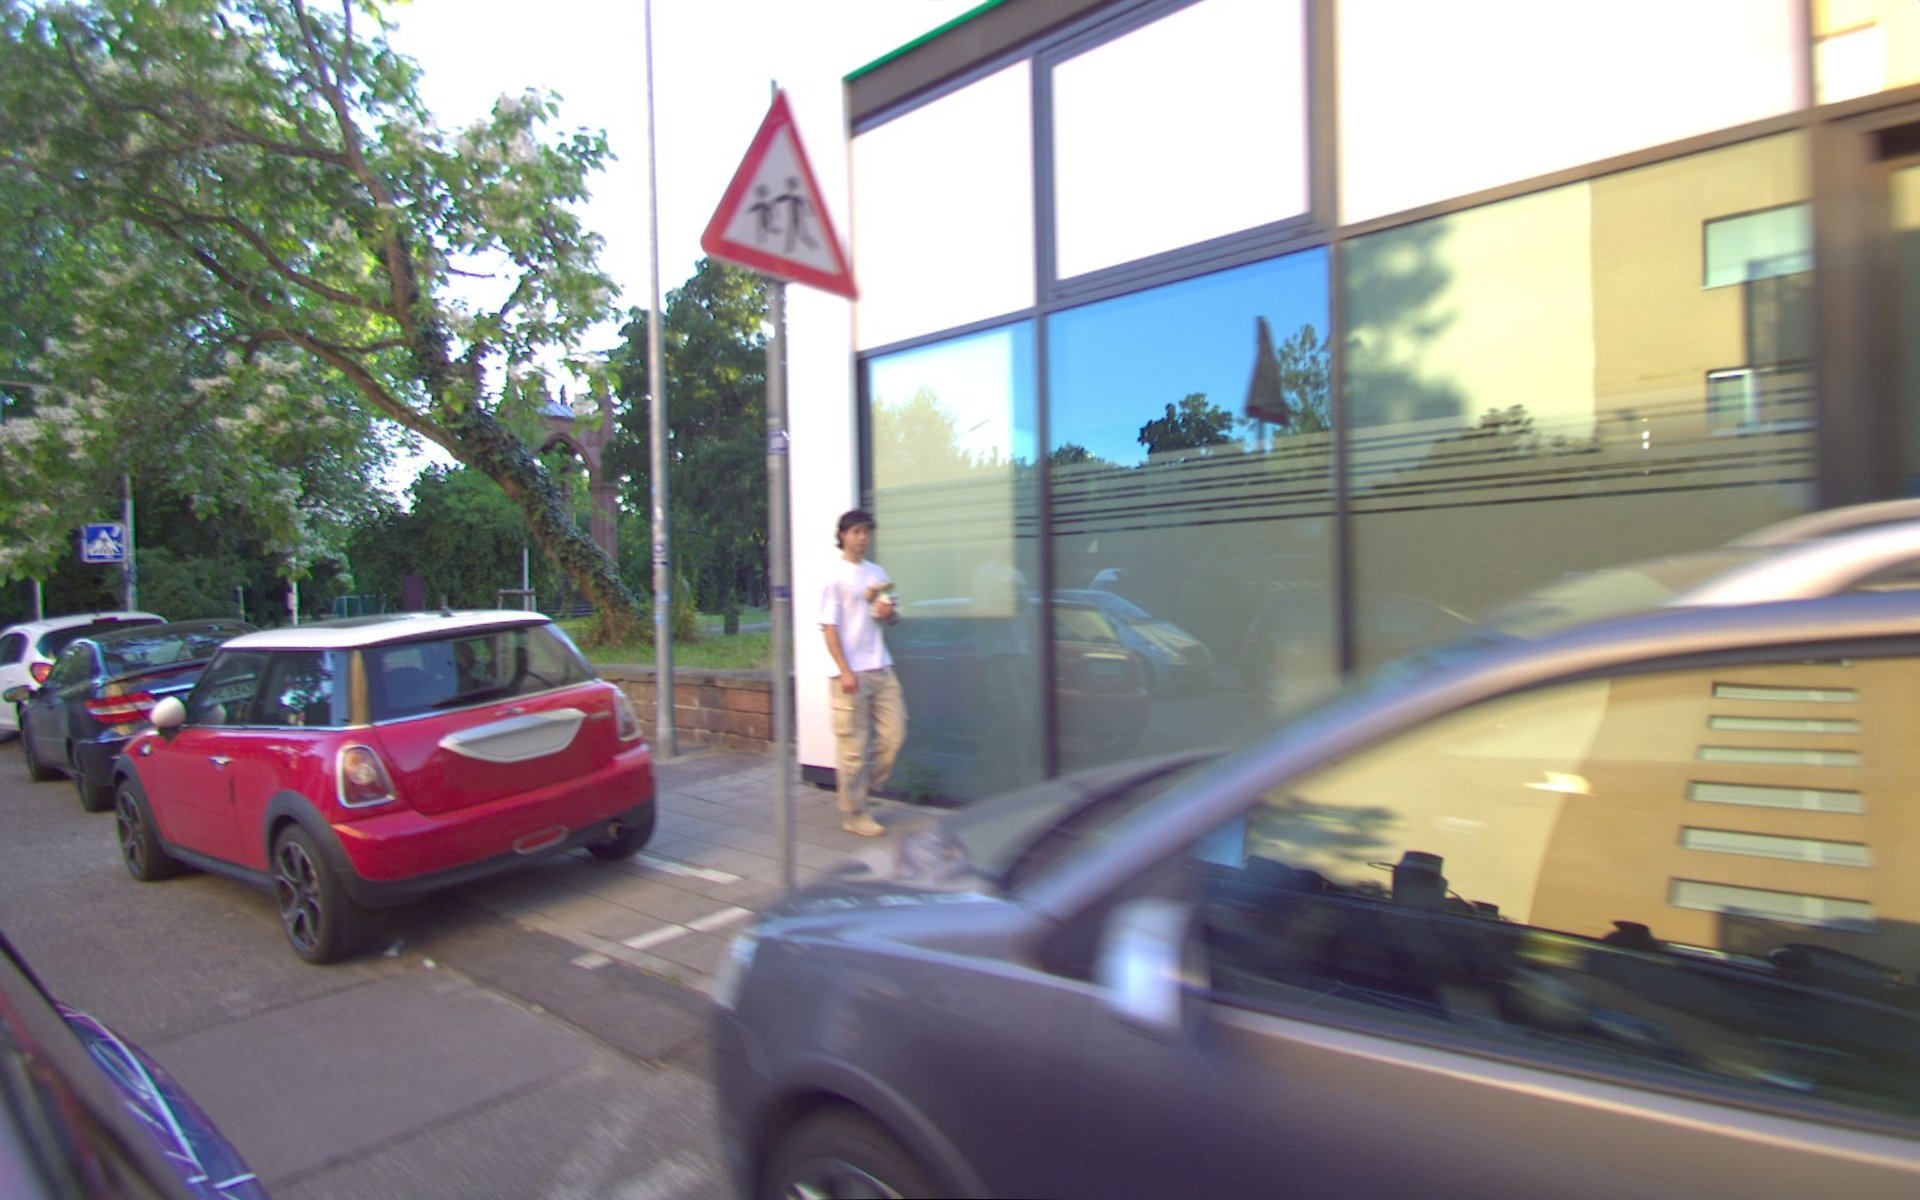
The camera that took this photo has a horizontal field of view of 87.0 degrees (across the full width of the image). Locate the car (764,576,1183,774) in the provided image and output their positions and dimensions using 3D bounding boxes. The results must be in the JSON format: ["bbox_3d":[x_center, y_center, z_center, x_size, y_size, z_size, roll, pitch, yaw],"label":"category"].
[{"bbox_3d":[-0.007,0.631,9.690,3.873,1.534,1.577,-2,-1,40],"label":"car"}]

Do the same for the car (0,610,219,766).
[{"bbox_3d":[-10.946,1.015,12.484,3.875,1.525,1.648,-3,2,35],"label":"car"}]

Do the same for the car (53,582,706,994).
[{"bbox_3d":[-3.395,0.771,5.645,3.920,1.421,1.647,-3,4,37],"label":"car"}]

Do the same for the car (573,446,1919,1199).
[{"bbox_3d":[1.227,0.549,1.541,3.882,1.508,1.645,-2,5,41],"label":"car"}]

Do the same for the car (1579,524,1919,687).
[{"bbox_3d":[8.594,0.058,10.077,3.917,1.445,1.680,-2,-1,40],"label":"car"}]

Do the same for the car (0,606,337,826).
[{"bbox_3d":[-7.605,0.921,9.385,4.409,1.426,1.646,-2,5,39],"label":"car"}]

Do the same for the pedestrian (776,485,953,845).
[{"bbox_3d":[-0.541,0.344,5.791,0.620,1.892,0.713,-3,-1,41],"label":"pedestrian"}]

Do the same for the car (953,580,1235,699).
[{"bbox_3d":[1.940,0.577,15.294,3.917,1.573,1.680,-2,-1,40],"label":"car"}]

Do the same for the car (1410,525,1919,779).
[{"bbox_3d":[5.856,0.372,8.148,3.735,1.671,1.680,-2,-1,40],"label":"car"}]

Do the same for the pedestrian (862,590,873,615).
[{"bbox_3d":[-6.527,0.171,71.072,0.657,1.681,0.668,-2,0,-10],"label":"pedestrian"}]

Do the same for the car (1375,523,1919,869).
[{"bbox_3d":[4.667,0.471,5.844,3.873,1.662,1.577,-2,-1,40],"label":"car"}]
